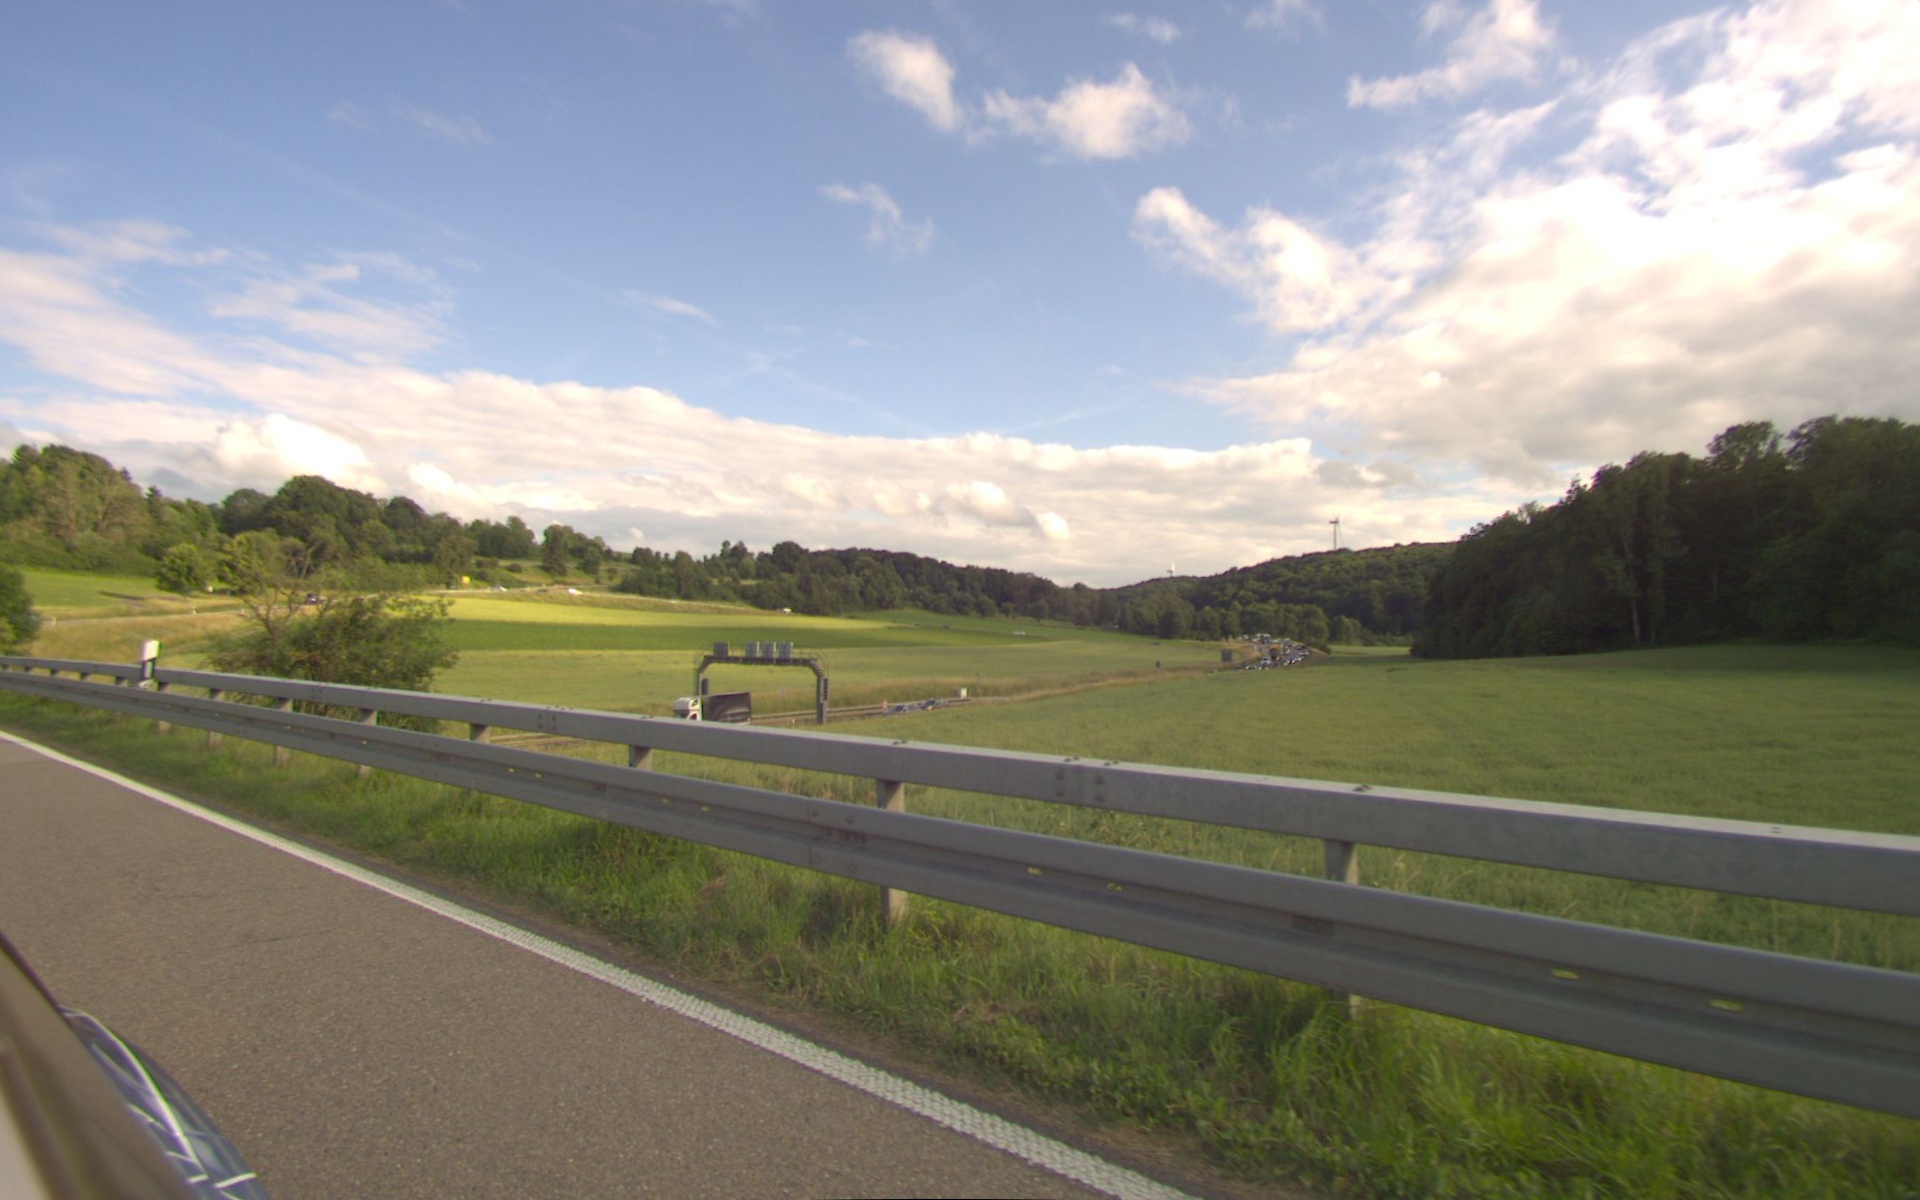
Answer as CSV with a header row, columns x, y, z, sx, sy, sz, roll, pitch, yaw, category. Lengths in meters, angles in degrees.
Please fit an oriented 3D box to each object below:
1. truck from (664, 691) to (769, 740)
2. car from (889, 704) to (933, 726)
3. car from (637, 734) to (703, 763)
x,y,z,sx,sy,sz,roll,pitch,yaw,category
-18.640,8.945,78.160,2.119,3.431,8.394,0,-6,35,truck
-4.283,10.122,89.189,1.824,1.662,3.954,0,-2,34,car
-19.548,9.986,68.322,1.824,1.662,3.954,0,-5,34,car
